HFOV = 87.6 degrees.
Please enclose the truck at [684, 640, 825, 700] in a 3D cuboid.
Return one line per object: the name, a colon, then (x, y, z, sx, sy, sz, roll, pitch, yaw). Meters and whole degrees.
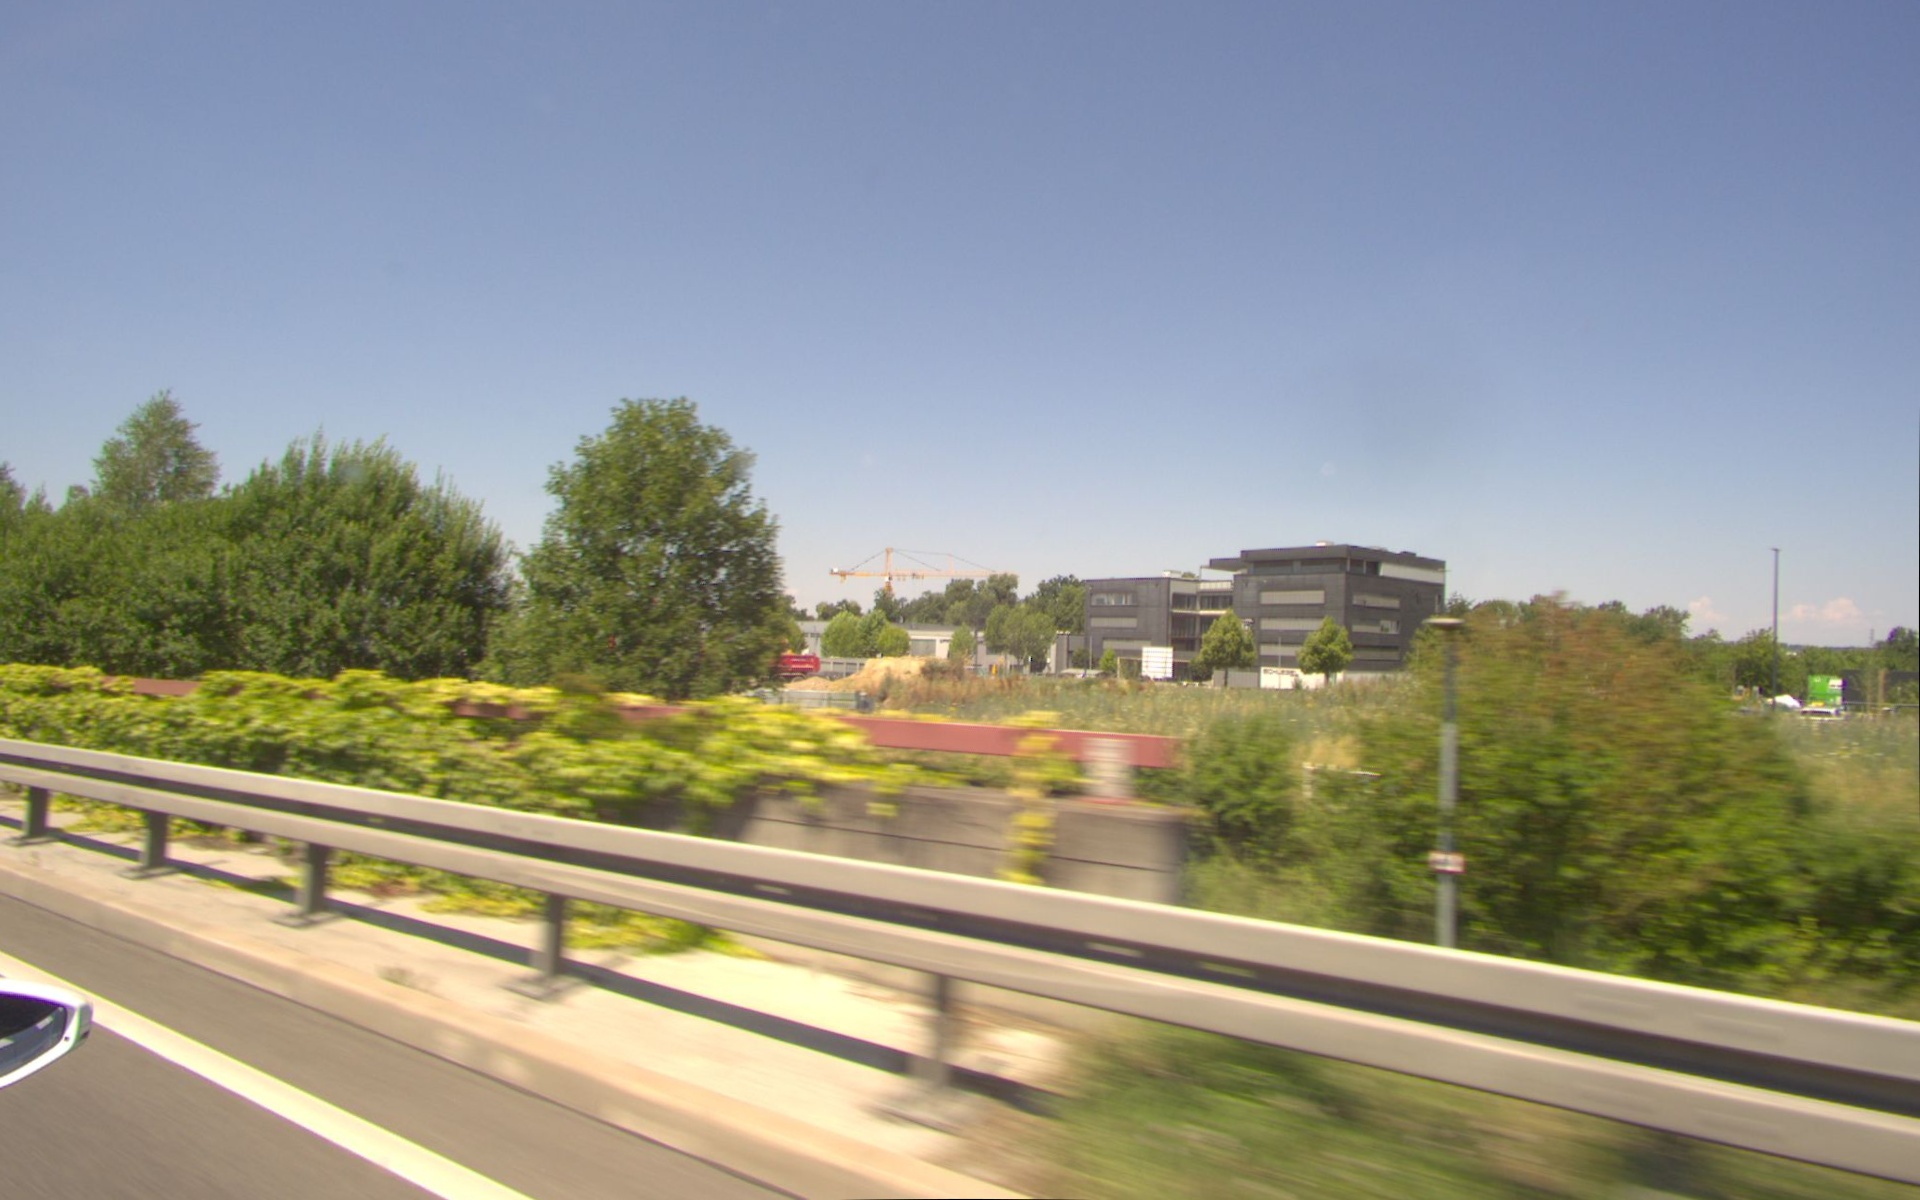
truck: (-14.503, 4.938, 70.655, 9.261, 3.730, 3.125, 4, -2, -19)
